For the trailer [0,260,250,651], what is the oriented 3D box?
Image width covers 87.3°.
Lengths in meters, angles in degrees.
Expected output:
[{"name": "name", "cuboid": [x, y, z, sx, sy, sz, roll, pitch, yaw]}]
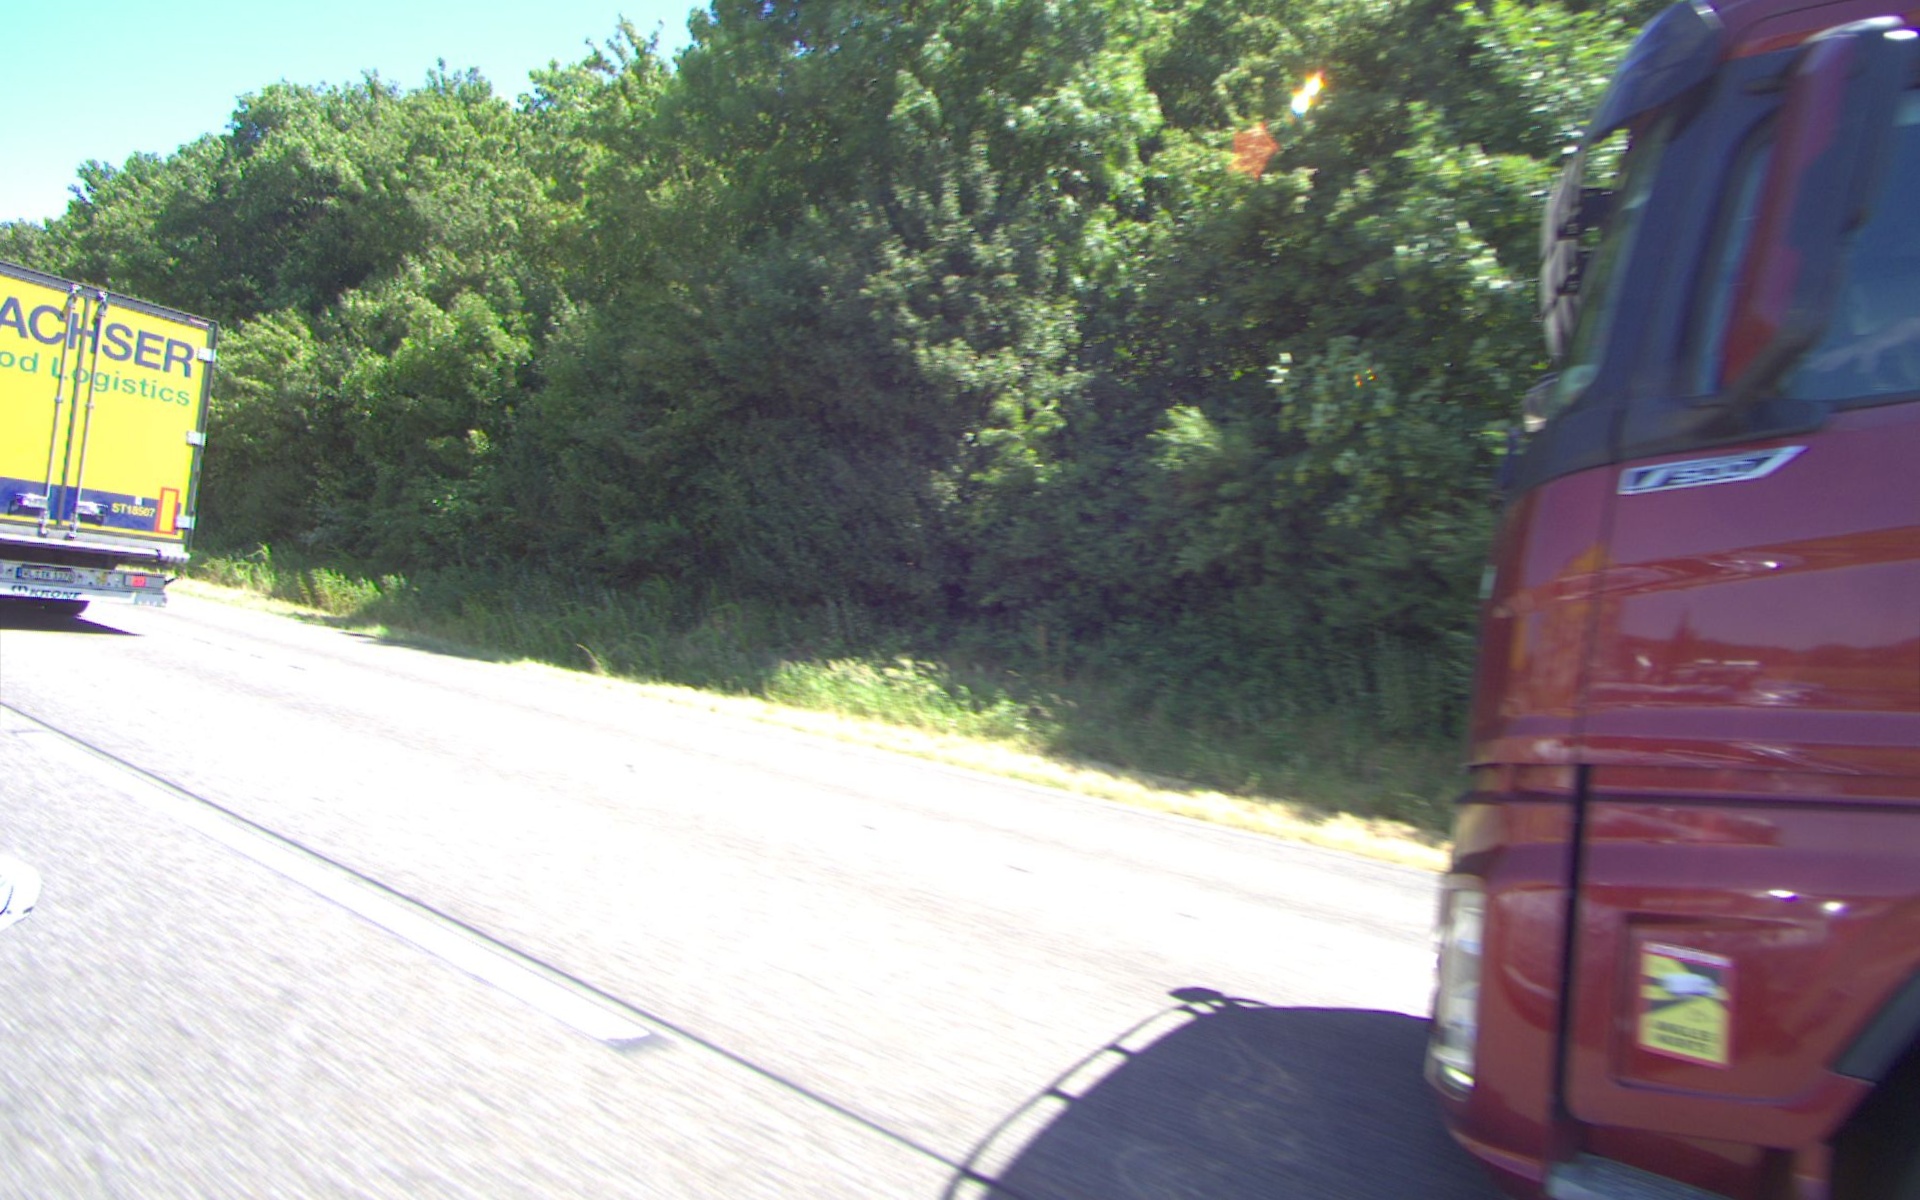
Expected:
[{"name": "trailer", "cuboid": [-14.555, -2.029, 14.361, 11.493, 4.002, 2.838, 7, 0, 33]}]

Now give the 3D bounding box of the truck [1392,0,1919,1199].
[{"name": "truck", "cuboid": [4.562, -0.147, 2.114, 5.955, 4.494, 3.091, 6, -1, 33]}]
